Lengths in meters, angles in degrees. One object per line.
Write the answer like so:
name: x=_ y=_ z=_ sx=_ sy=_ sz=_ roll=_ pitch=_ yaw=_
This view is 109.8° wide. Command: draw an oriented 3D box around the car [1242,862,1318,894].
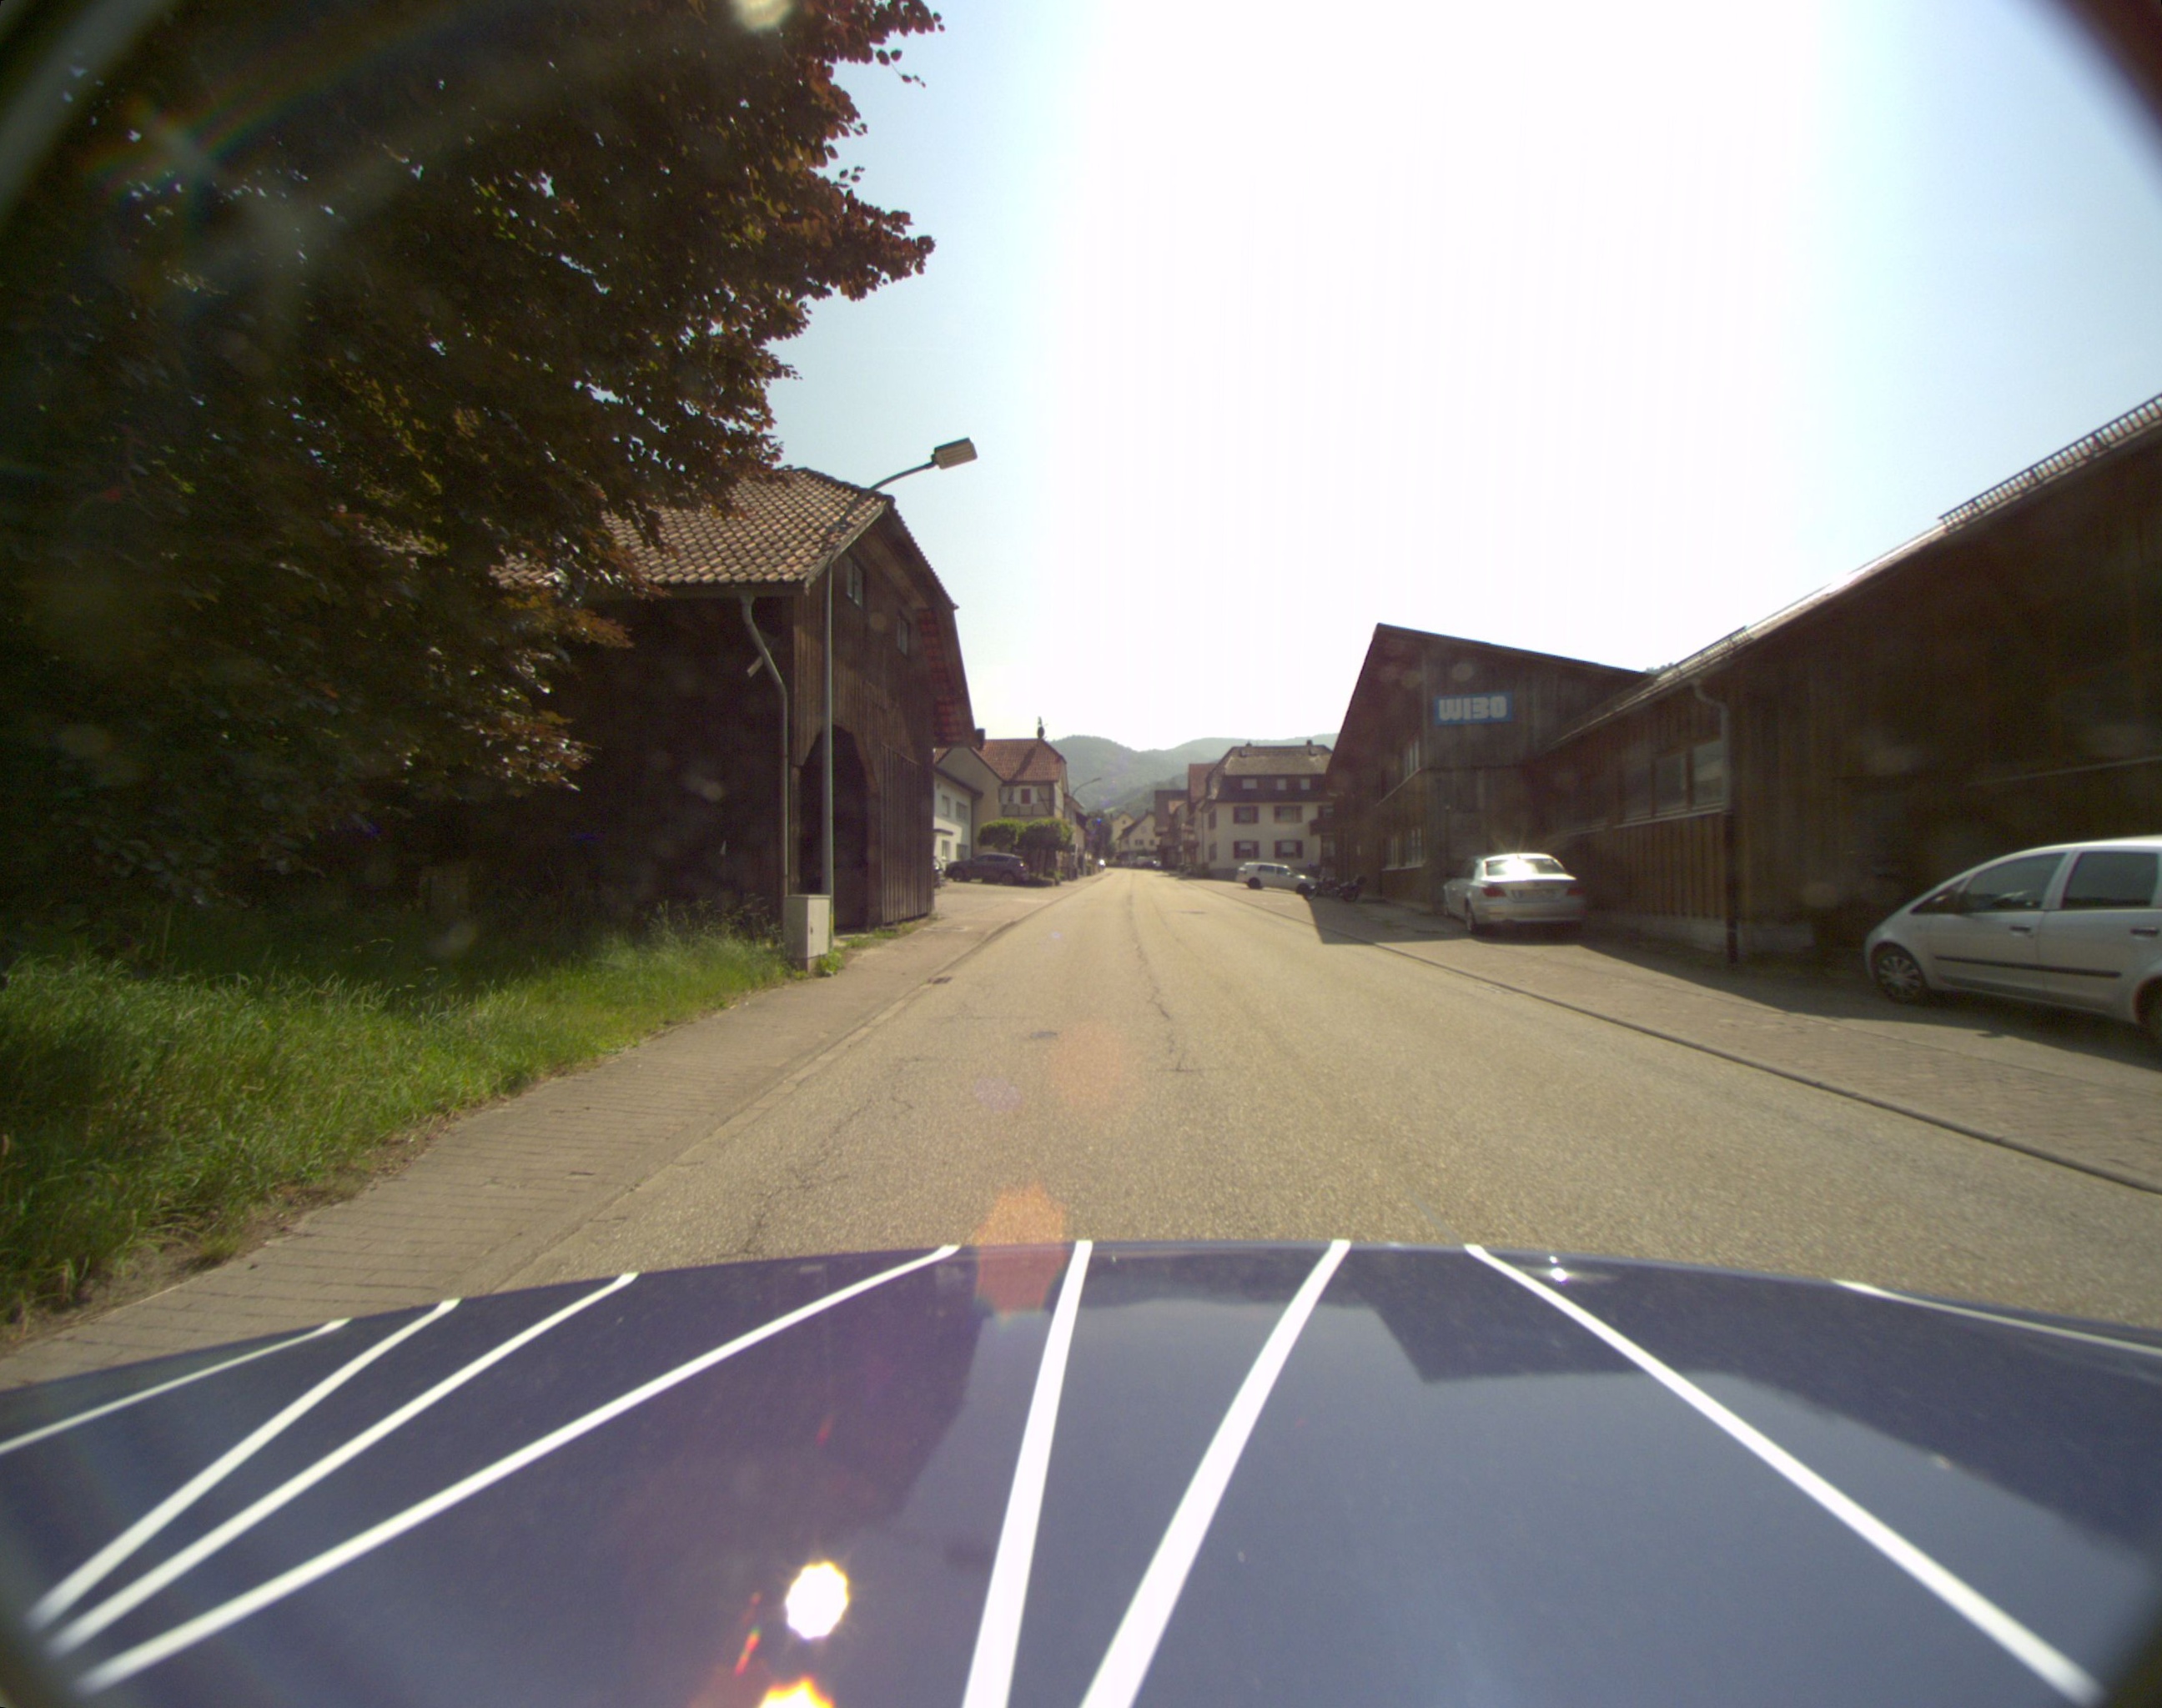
car: x=10.432 y=1.226 z=39.840 sx=3.662 sy=1.377 sz=1.713 roll=4 pitch=1 yaw=19

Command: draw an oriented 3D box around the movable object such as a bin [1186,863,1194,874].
movable object such as a bin: x=10.398 y=1.366 z=72.223 sx=0.677 sy=1.060 sz=0.621 roll=0 pitch=0 yaw=3

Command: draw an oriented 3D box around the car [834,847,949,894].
car: x=-7.553 y=0.647 z=30.599 sx=4.136 sy=1.822 sz=1.954 roll=1 pitch=0 yaw=1

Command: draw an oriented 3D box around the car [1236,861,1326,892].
car: x=11.165 y=1.233 z=42.542 sx=4.430 sy=1.466 sz=1.929 roll=3 pitch=1 yaw=30

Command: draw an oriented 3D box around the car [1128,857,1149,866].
car: x=11.008 y=1.378 z=144.761 sx=3.995 sy=1.563 sz=1.578 roll=1 pitch=0 yaw=6

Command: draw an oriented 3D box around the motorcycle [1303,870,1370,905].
motorcycle: x=9.805 y=1.276 z=29.267 sx=2.412 sy=1.257 sz=0.744 roll=0 pitch=0 yaw=14

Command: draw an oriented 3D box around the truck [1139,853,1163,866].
truck: x=12.633 y=1.033 z=137.620 sx=4.177 sy=2.253 sz=2.000 roll=-1 pitch=0 yaw=-1

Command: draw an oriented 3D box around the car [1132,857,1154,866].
car: x=11.530 y=1.414 z=141.639 sx=3.997 sy=1.444 sz=1.628 roll=1 pitch=0 yaw=0

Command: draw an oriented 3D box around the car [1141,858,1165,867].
car: x=12.634 y=1.429 z=132.696 sx=4.104 sy=1.494 sz=1.754 roll=0 pitch=0 yaw=2

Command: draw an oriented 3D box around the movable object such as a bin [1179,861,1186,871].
movable object such as a bin: x=12.336 y=1.410 z=92.249 sx=0.719 sy=1.174 sz=0.598 roll=1 pitch=0 yaw=5

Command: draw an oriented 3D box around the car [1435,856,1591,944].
car: x=8.309 y=0.819 z=15.071 sx=1.731 sy=1.445 sz=4.812 roll=-1 pitch=-1 yaw=18

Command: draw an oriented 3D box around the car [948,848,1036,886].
car: x=-4.710 y=0.671 z=40.456 sx=4.228 sy=1.677 sz=1.778 roll=4 pitch=1 yaw=8

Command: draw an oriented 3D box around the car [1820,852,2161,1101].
car: x=8.214 y=0.810 z=6.022 sx=1.583 sy=1.560 sz=4.028 roll=-4 pitch=-1 yaw=16

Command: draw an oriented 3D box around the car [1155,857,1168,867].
car: x=13.271 y=1.325 z=125.147 sx=1.774 sy=1.544 sz=4.286 roll=-2 pitch=0 yaw=1

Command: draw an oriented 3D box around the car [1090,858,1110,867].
car: x=3.471 y=1.527 z=138.030 sx=2.003 sy=1.672 sz=3.992 roll=0 pitch=0 yaw=-24
